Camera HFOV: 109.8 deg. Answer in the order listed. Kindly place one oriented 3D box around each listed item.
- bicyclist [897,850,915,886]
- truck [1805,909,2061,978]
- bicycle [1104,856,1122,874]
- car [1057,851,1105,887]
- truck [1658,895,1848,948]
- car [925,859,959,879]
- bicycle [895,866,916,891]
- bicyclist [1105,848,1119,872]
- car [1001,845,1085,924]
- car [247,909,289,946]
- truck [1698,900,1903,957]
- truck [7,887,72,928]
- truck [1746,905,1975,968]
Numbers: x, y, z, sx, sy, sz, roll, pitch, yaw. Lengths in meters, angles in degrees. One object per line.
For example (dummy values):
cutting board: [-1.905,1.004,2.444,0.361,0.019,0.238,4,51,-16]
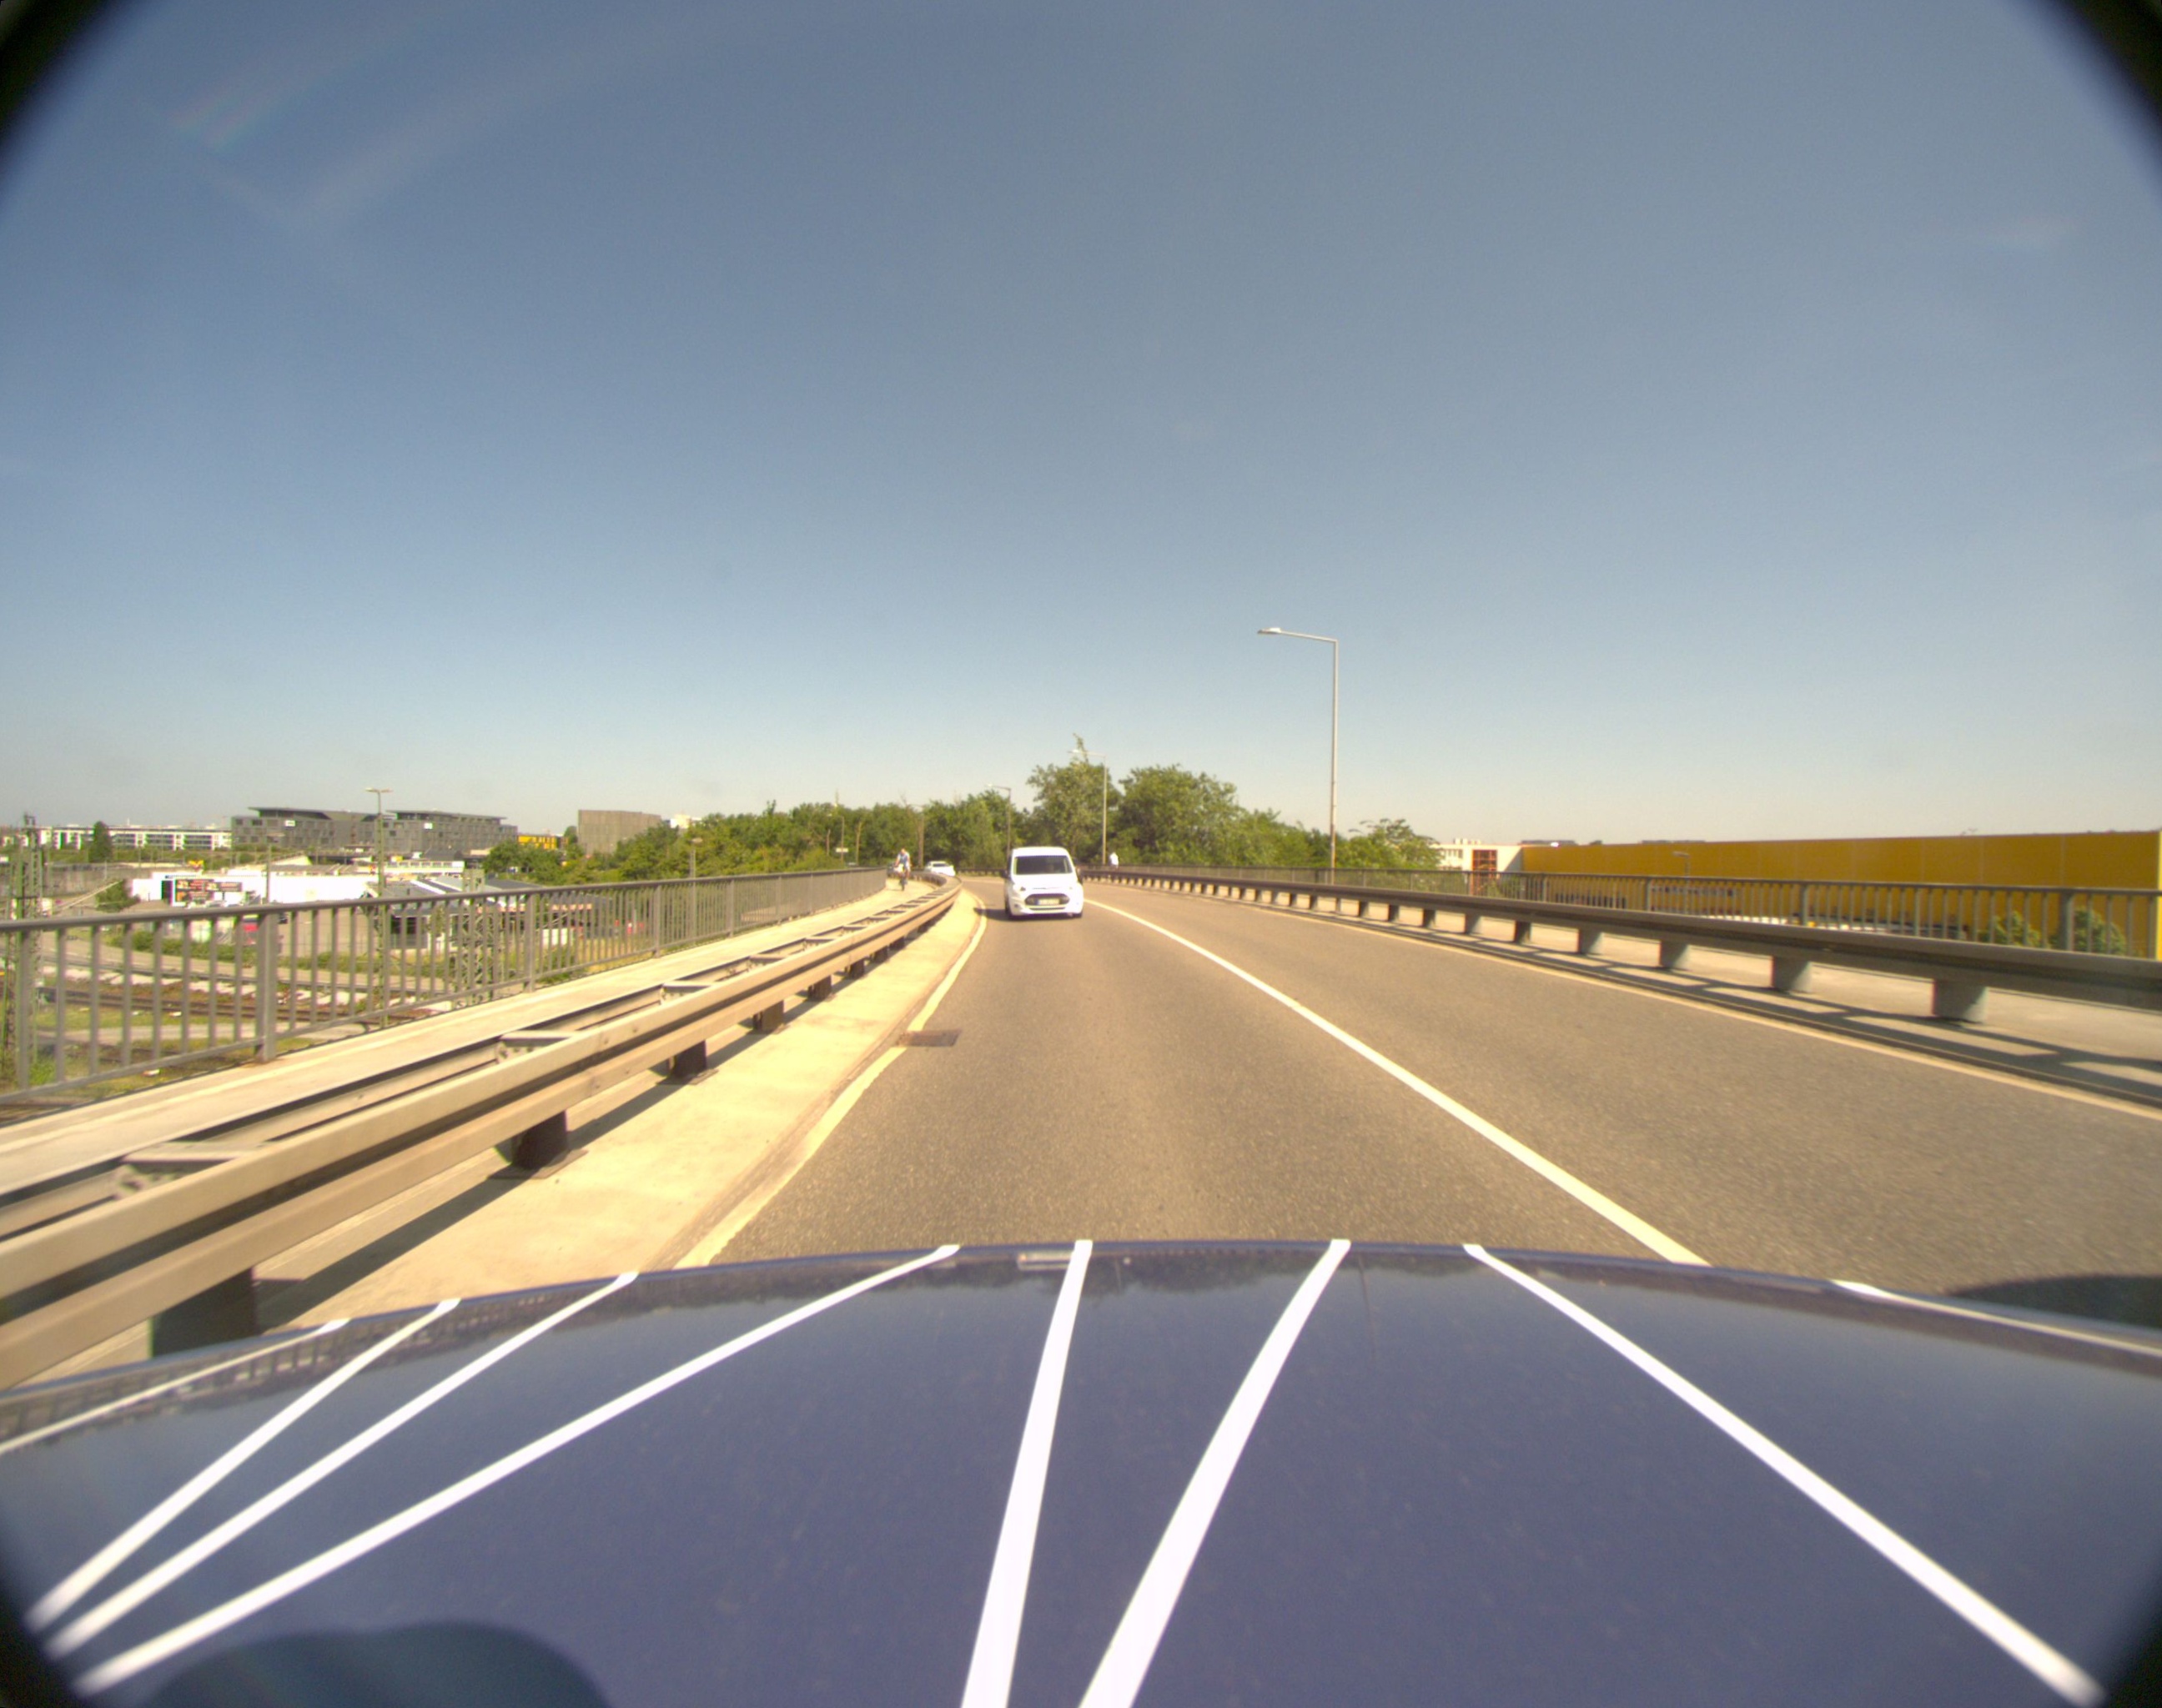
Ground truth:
bicyclist: [-7.522,0.597,32.648,0.661,1.511,0.802,2,0,-17]
truck: [80.578,8.354,72.326,17.533,5.644,5.976,-1,1,1]
bicycle: [1.964,0.682,47.461,0.614,1.128,2.147,2,-1,-11]
car: [-0.081,0.724,37.552,1.738,1.615,4.300,1,-1,-8]
truck: [80.754,8.073,91.781,17.533,5.644,5.976,-1,1,1]
car: [-10.987,1.141,59.886,1.849,1.479,4.144,-2,0,-21]
bicycle: [-7.534,1.027,32.654,0.705,1.013,1.843,3,-1,-17]
bicyclist: [1.951,0.360,47.491,0.610,1.430,1.077,1,1,-11]
car: [-1.056,0.716,19.918,1.898,1.785,4.445,-2,0,-4]
car: [-74.158,6.638,69.308,5.361,2.650,2.311,1,7,43]
truck: [80.612,8.268,85.555,17.533,5.644,5.788,-1,1,1]
truck: [-115.740,5.822,84.379,13.233,4.005,3.832,0,-2,35]
truck: [80.684,8.464,79.109,17.533,5.644,5.976,-1,1,1]
